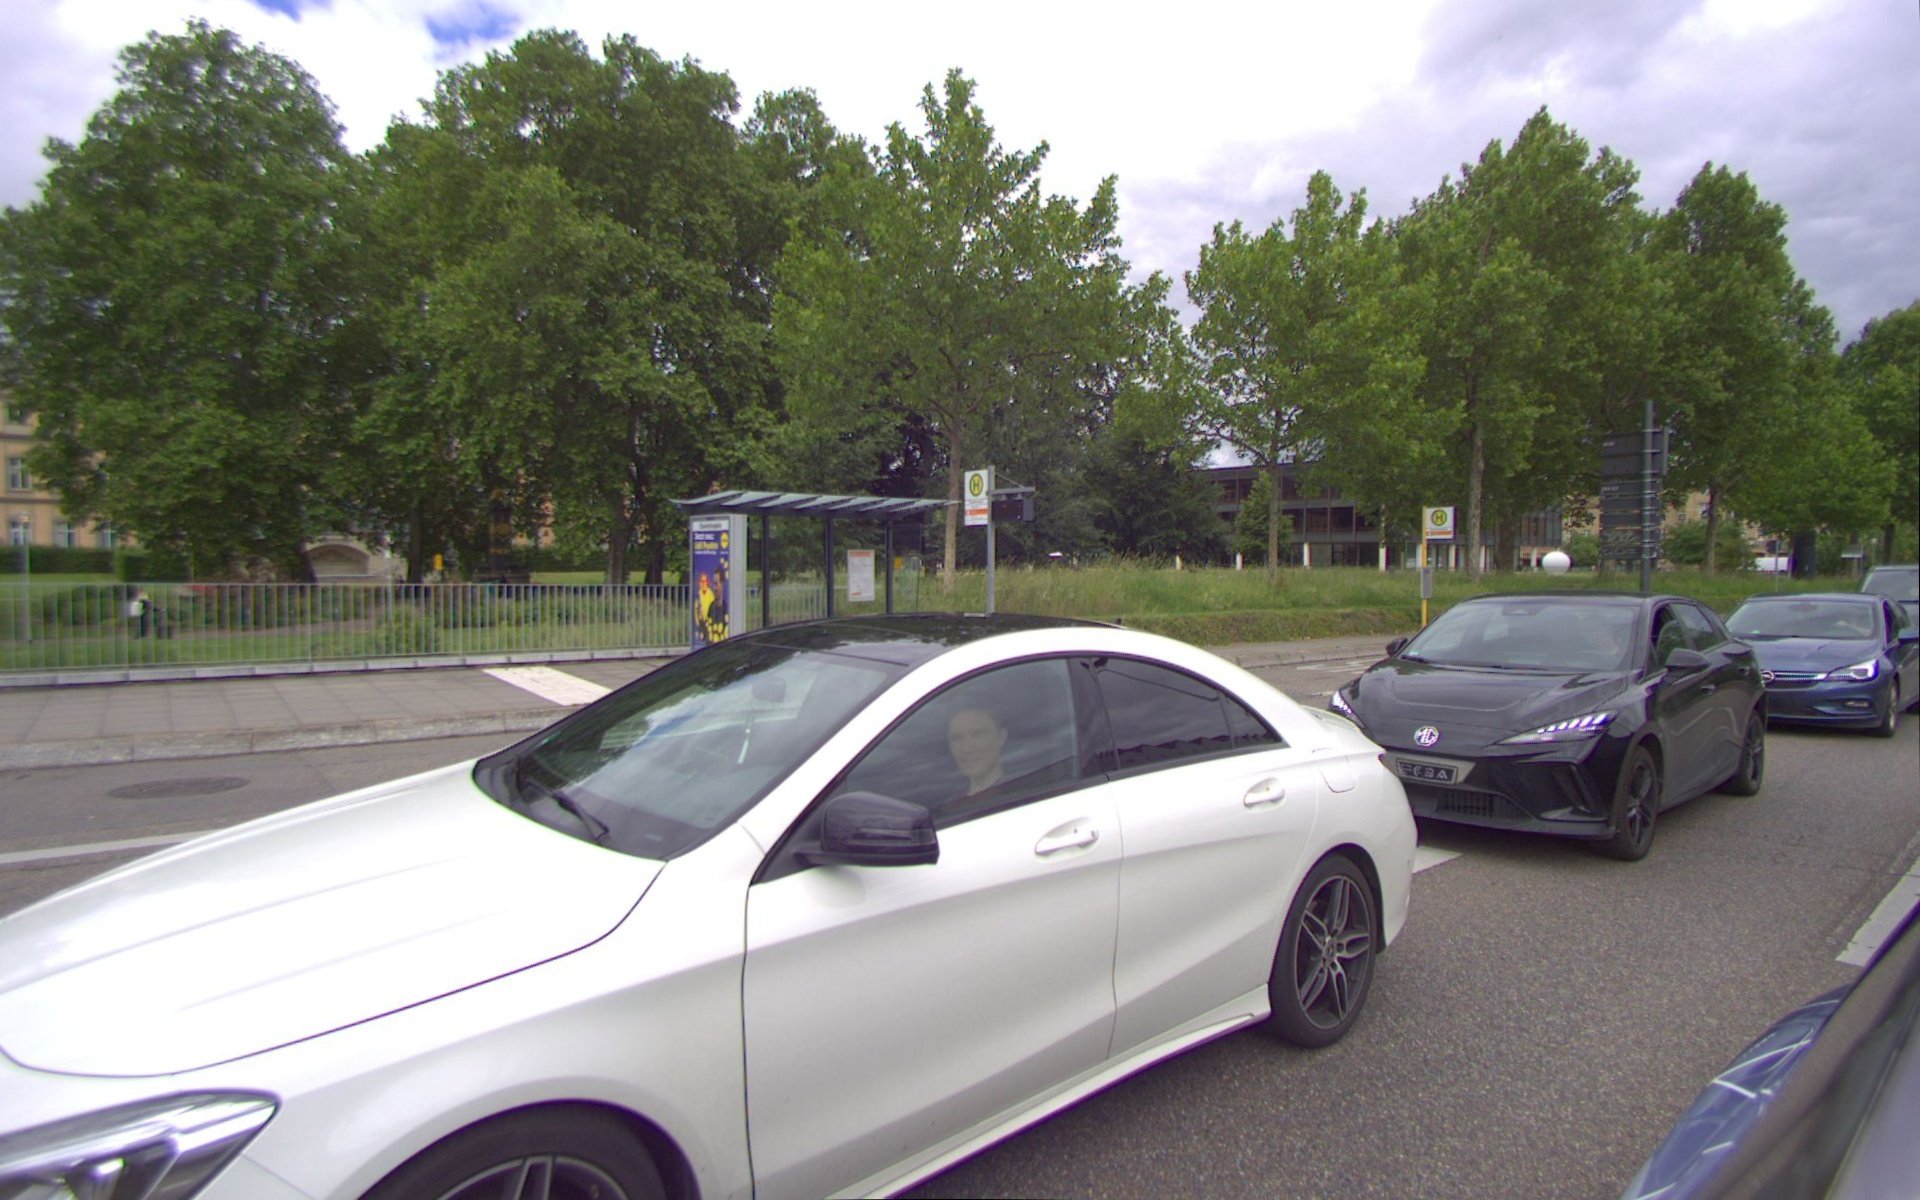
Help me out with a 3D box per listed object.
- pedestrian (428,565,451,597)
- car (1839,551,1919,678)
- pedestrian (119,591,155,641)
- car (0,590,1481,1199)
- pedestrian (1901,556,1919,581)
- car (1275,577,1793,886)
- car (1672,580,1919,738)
[{"bbox_3d":[-34.235,-1.254,66.577,1.083,2.039,0.944,-2,0,-5],"label":"pedestrian"},{"bbox_3d":[15.987,0.167,16.313,4.720,1.856,2.020,-1,2,-40],"label":"car"},{"bbox_3d":[-27.396,0.536,33.678,0.674,1.621,0.653,-1,0,19],"label":"pedestrian"},{"bbox_3d":[-0.261,0.731,3.214,4.446,1.437,1.799,-1,2,-39],"label":"car"},{"bbox_3d":[79.137,-2.632,84.313,1.160,2.039,0.891,-2,0,-40],"label":"pedestrian"},{"bbox_3d":[4.139,0.612,7.042,4.020,1.508,1.852,-1,2,-40],"label":"car"},{"bbox_3d":[9.780,0.514,11.495,3.944,1.452,1.804,-1,2,-40],"label":"car"}]
